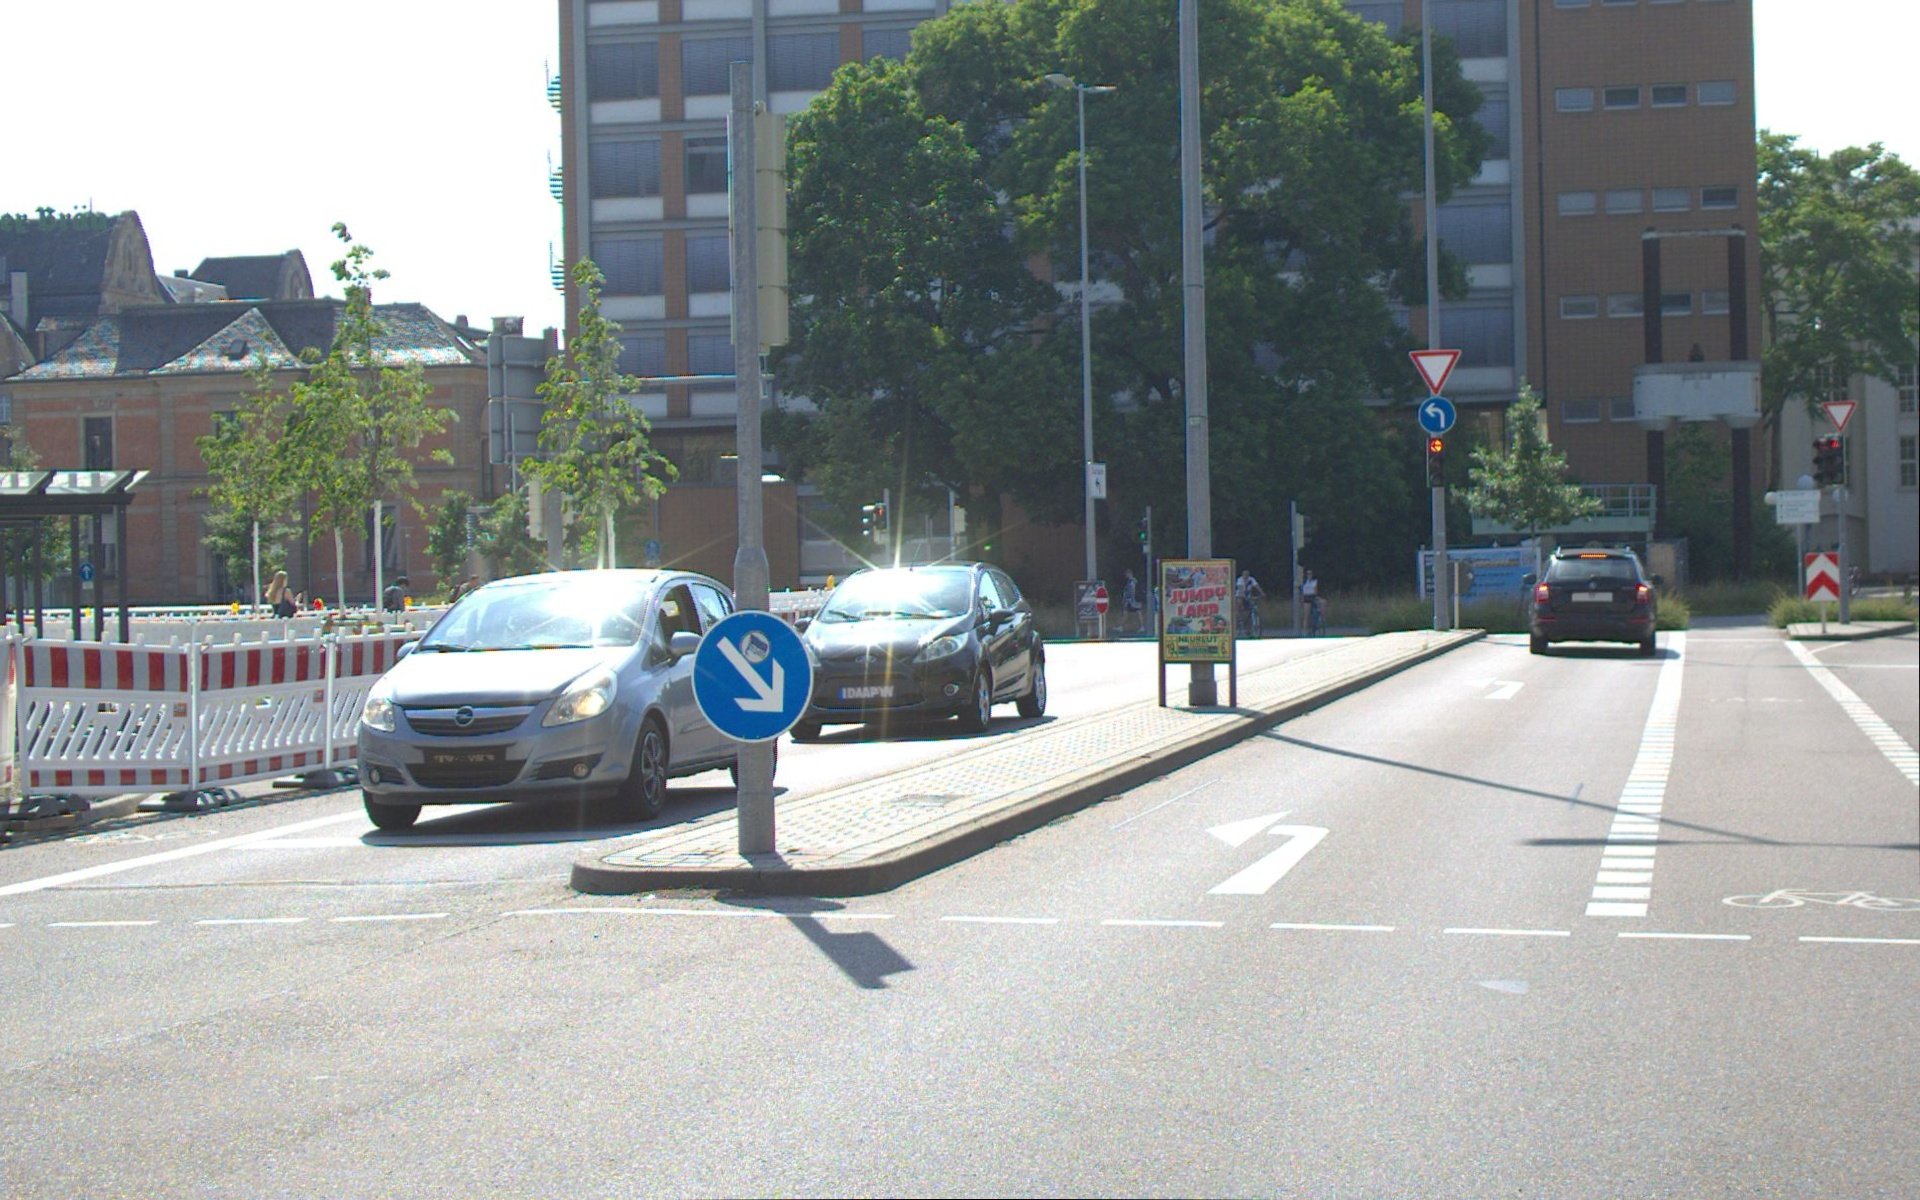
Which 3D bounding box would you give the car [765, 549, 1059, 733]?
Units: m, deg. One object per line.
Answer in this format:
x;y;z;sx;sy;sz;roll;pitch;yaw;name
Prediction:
-0.347;0.312;29.860;1.667;1.446;3.816;-2;1;13;car

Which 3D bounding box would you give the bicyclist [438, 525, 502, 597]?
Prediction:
-10.226;-0.820;71.739;1.167;1.469;0.563;-1;1;25;bicyclist

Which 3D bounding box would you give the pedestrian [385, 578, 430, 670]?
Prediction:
-9.077;0.392;56.465;0.630;1.486;0.617;-2;0;-4;pedestrian

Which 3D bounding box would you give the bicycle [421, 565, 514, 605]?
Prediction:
-10.289;-0.316;71.775;1.892;0.790;0.559;-1;2;25;bicycle

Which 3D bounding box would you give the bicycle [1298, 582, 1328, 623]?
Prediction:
8.823;0.058;85.841;0.618;0.957;1.967;-4;0;8;bicycle

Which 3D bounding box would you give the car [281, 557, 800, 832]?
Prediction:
-2.384;0.499;20.625;1.795;1.407;3.998;-3;0;13;car

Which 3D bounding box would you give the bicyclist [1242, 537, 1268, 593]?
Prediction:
7.611;-0.890;88.672;0.539;1.412;1.029;-2;-1;11;bicyclist

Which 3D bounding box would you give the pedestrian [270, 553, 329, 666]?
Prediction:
-10.565;0.160;55.016;0.736;1.746;1.111;-2;-2;-4;pedestrian

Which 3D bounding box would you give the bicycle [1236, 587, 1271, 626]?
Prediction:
7.574;0.164;88.668;0.704;0.974;2.030;-2;0;10;bicycle

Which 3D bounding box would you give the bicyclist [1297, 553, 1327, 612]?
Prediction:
8.792;-0.442;85.841;0.618;1.438;0.920;-4;0;8;bicyclist

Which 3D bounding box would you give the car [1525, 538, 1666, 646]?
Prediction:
8.960;-0.137;48.278;1.781;1.438;3.816;1;1;13;car

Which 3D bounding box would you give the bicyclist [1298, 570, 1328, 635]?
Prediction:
8.824;0.058;85.841;0.618;1.576;1.013;-4;0;8;bicyclist
